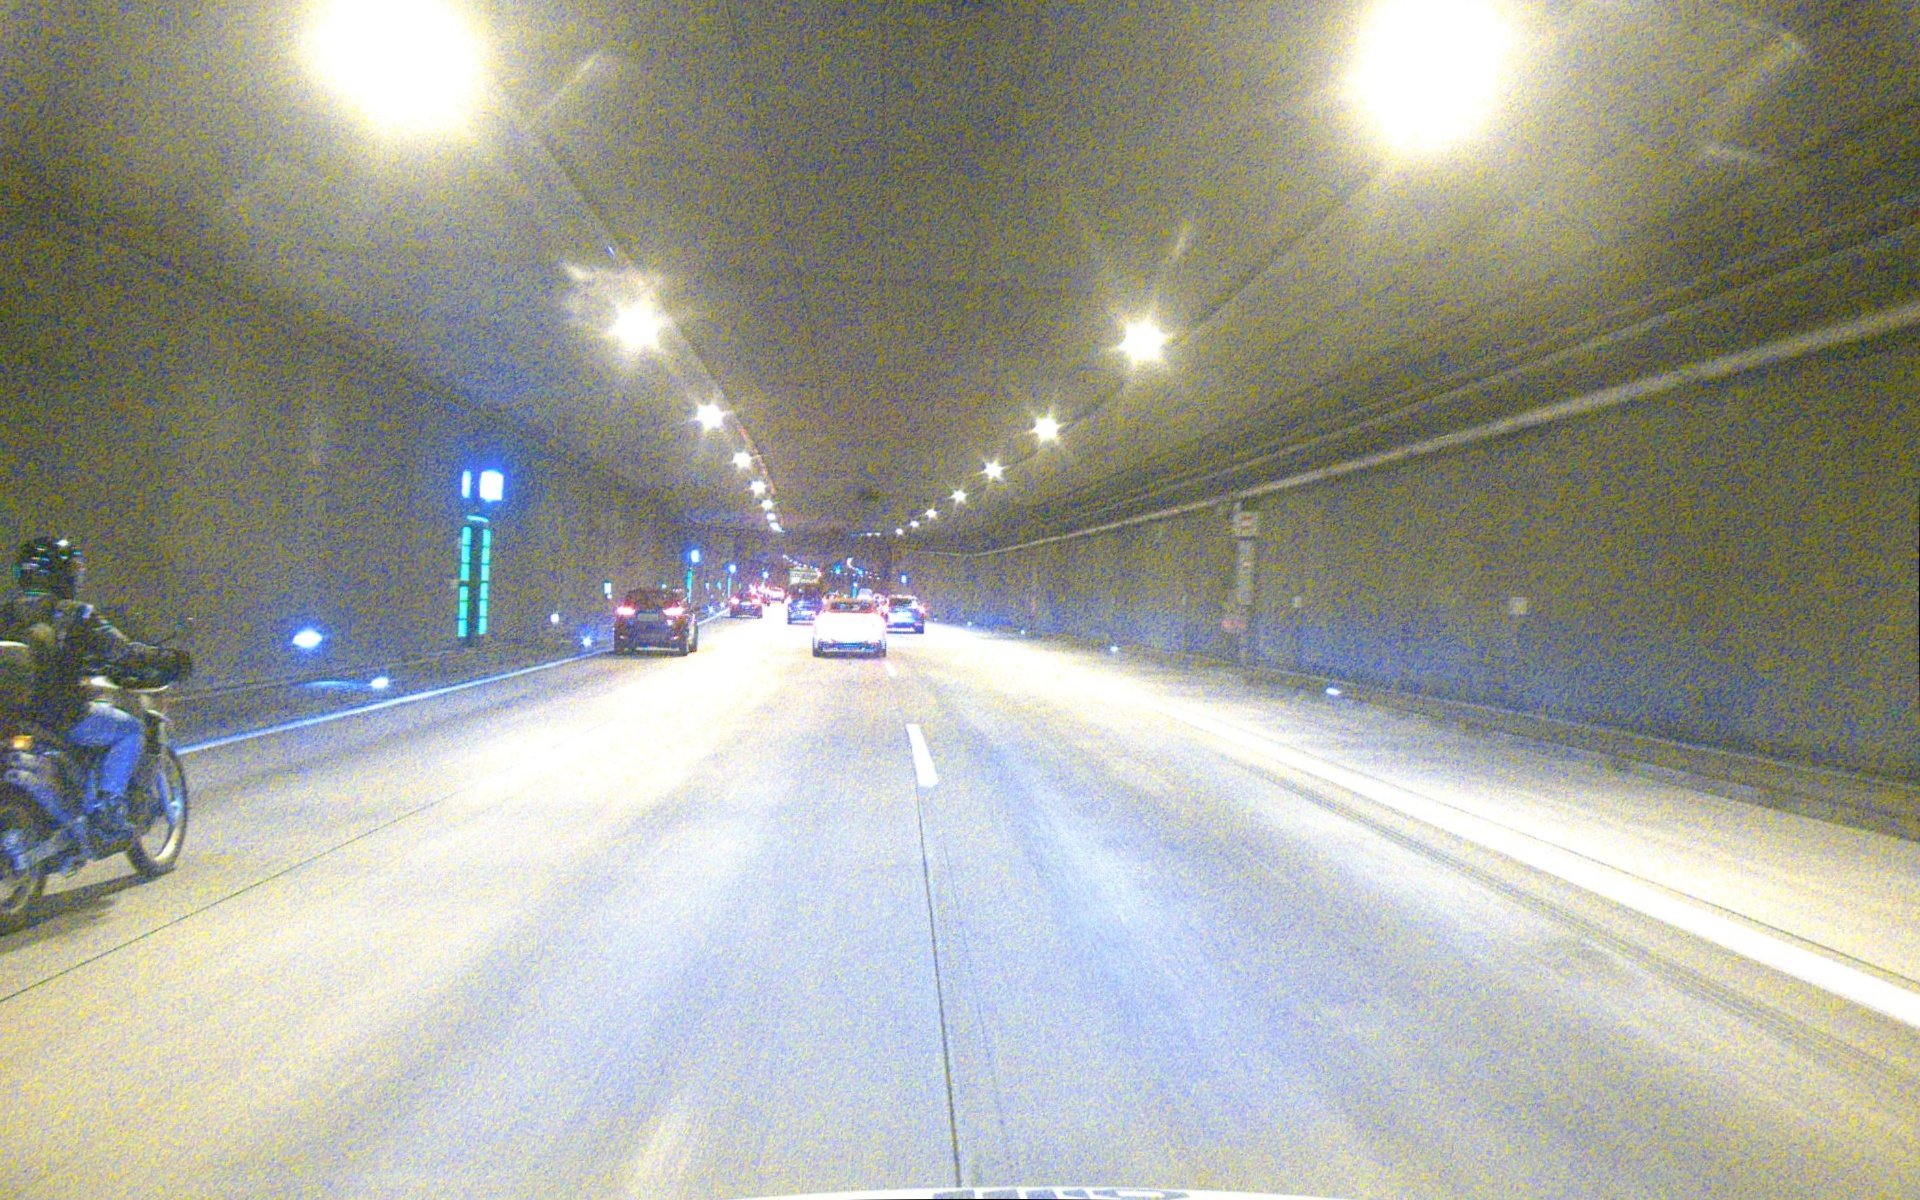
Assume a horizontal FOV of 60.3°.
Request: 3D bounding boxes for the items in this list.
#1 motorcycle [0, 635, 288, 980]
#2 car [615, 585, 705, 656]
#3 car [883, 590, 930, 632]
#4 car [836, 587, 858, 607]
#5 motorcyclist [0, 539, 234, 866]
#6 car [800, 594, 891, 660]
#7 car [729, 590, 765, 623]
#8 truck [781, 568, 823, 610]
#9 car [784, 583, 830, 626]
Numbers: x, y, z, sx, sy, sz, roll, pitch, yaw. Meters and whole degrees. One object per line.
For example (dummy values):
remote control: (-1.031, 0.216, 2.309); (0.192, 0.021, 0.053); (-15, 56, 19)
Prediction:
motorcycle: (-4.109, 0.839, 7.756); (0.828, 1.267, 2.604); (0, 0, 1)
car: (-7.253, 0.469, 40.287); (1.750, 1.626, 3.798); (1, 0, -5)
car: (-2.183, 0.424, 66.392); (1.803, 1.630, 3.998); (1, 0, -3)
car: (-10.810, -0.262, 157.806); (1.955, 1.785, 3.995); (1, -1, -6)
motorcyclist: (-4.115, 0.470, 8.017); (0.822, 1.503, 0.821); (0, 0, -1)
car: (-2.767, 0.633, 40.869); (1.953, 1.509, 4.000); (1, 0, 0)
car: (-11.615, 0.349, 90.378); (1.765, 1.713, 3.996); (1, 0, -4)
truck: (-12.698, -0.939, 133.675); (3.022, 3.167, 10.021); (1, 1, -4)
car: (-7.275, 0.211, 78.878); (1.953, 2.006, 3.998); (0, 0, -3)
